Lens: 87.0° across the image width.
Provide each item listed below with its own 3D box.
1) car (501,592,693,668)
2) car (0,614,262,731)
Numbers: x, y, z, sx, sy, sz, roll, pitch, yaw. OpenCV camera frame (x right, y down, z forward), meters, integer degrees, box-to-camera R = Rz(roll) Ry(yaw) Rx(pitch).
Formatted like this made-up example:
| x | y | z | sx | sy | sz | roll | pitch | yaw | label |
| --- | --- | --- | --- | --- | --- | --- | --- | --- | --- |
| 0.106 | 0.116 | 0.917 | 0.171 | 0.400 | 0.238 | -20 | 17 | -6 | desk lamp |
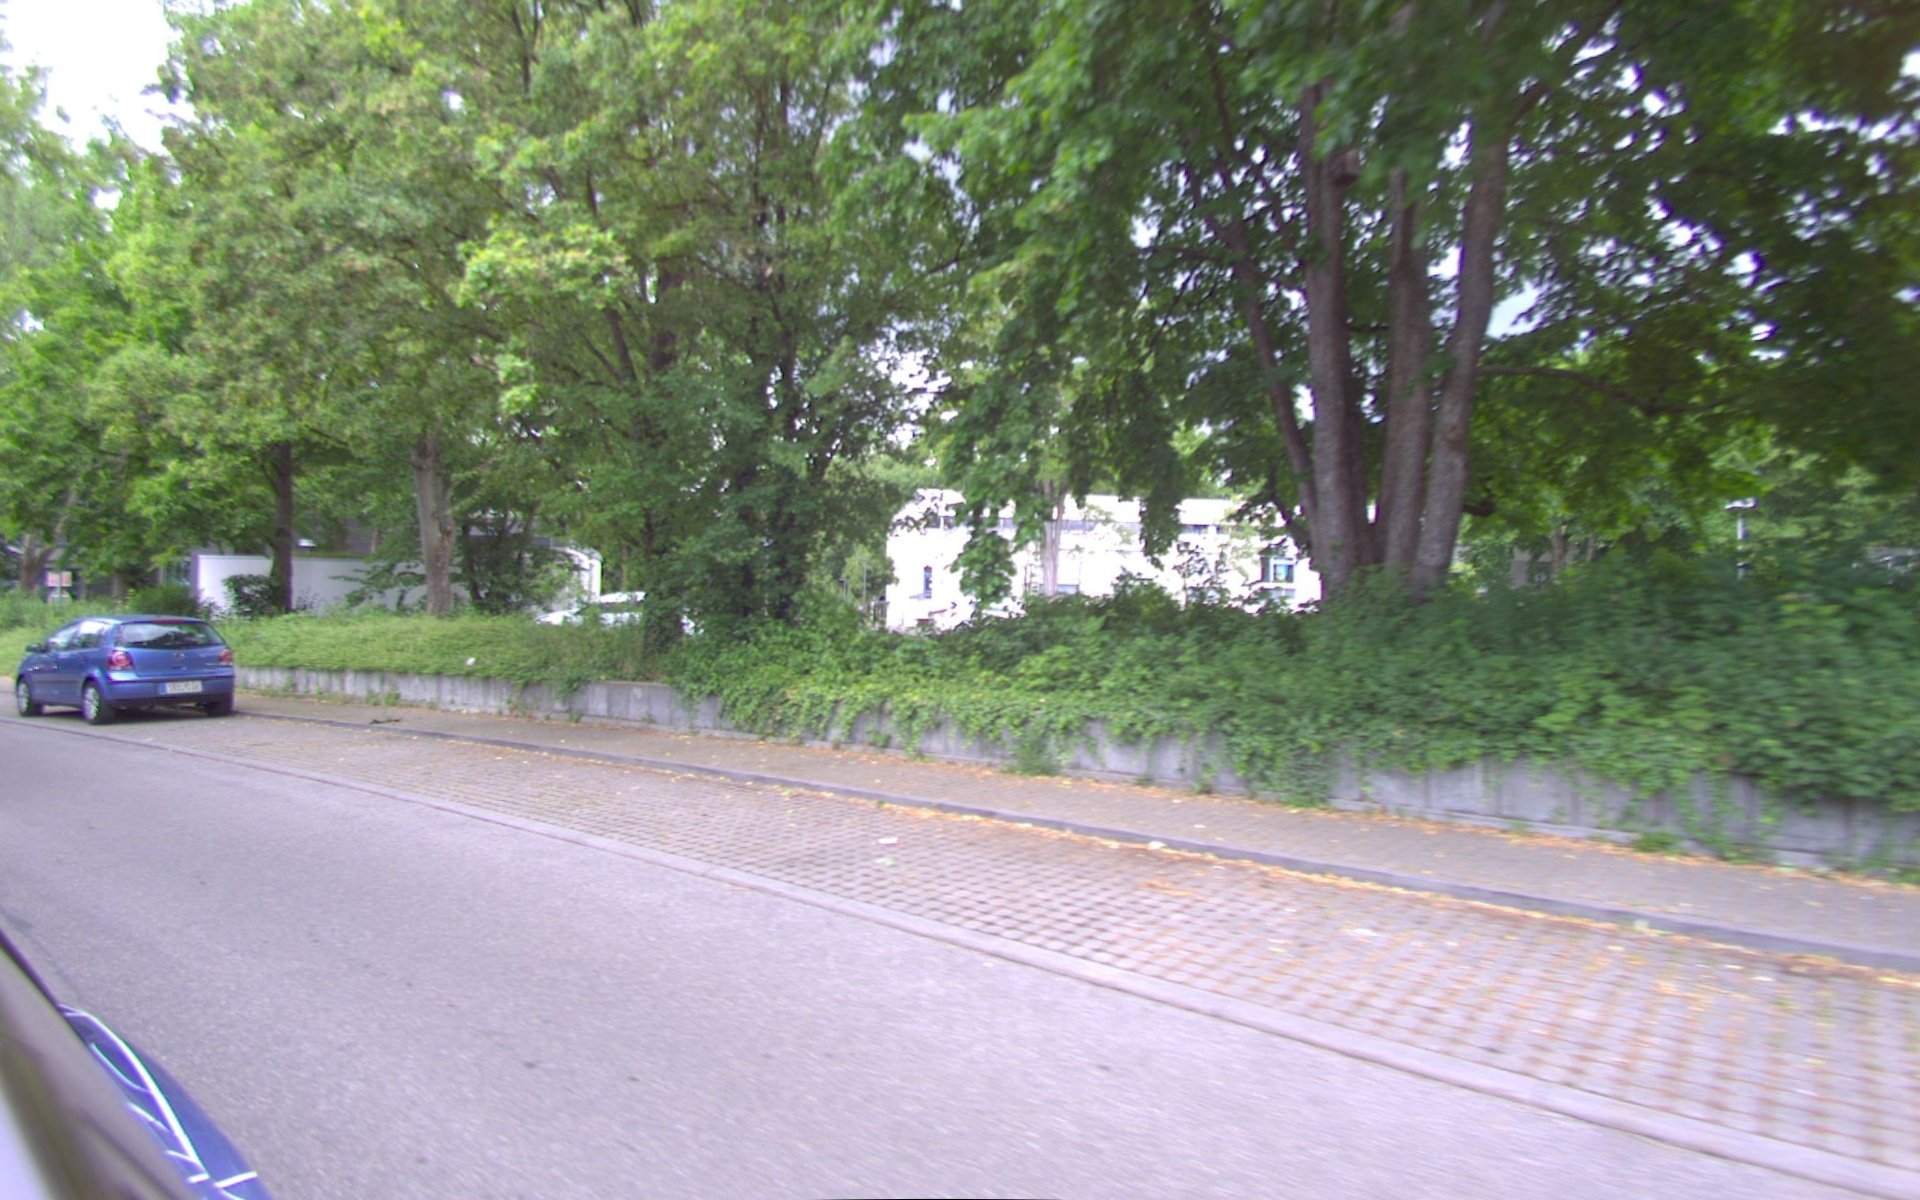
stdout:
| x | y | z | sx | sy | sz | roll | pitch | yaw | label |
| --- | --- | --- | --- | --- | --- | --- | --- | --- | --- |
| -8.196 | 0.649 | 23.177 | 3.754 | 1.650 | 2.002 | 0 | 0 | -4 | car |
| -12.253 | 0.972 | 14.786 | 3.983 | 1.503 | 1.835 | -1 | -1 | 30 | car |
